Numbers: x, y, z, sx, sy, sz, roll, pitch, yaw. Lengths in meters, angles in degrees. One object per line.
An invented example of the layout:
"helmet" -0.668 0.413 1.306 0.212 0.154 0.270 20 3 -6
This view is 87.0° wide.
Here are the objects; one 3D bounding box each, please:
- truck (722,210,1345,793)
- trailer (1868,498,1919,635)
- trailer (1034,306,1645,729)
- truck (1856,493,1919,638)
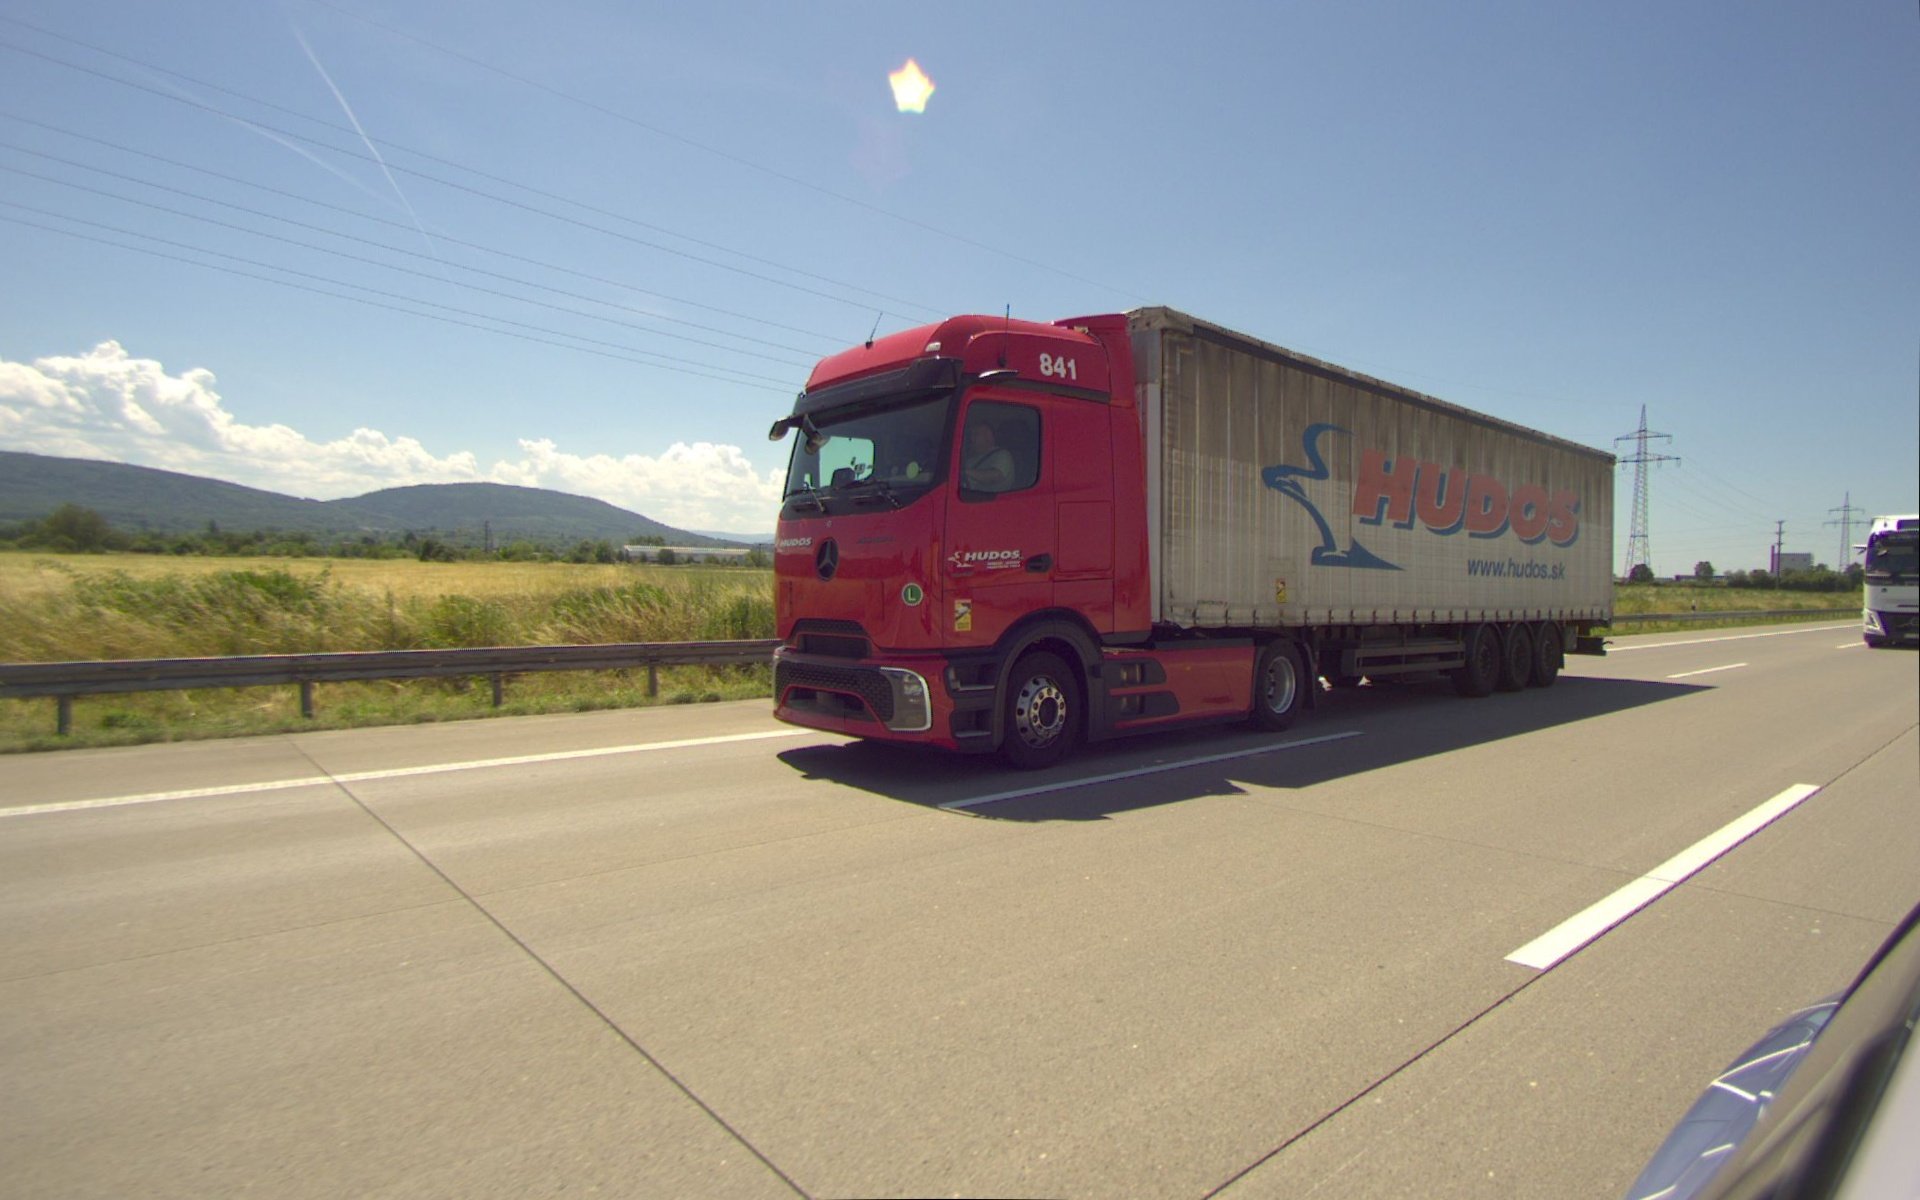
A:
"truck" 1.046 -0.718 10.352 6.163 4.153 2.910 0 0 -41
"trailer" 34.412 -1.019 34.756 13.957 4.112 3.023 0 0 -41
"trailer" 6.788 -0.833 15.428 13.278 4.152 2.878 0 0 -42
"truck" 29.366 -0.981 30.413 5.382 4.114 2.989 0 0 -41
